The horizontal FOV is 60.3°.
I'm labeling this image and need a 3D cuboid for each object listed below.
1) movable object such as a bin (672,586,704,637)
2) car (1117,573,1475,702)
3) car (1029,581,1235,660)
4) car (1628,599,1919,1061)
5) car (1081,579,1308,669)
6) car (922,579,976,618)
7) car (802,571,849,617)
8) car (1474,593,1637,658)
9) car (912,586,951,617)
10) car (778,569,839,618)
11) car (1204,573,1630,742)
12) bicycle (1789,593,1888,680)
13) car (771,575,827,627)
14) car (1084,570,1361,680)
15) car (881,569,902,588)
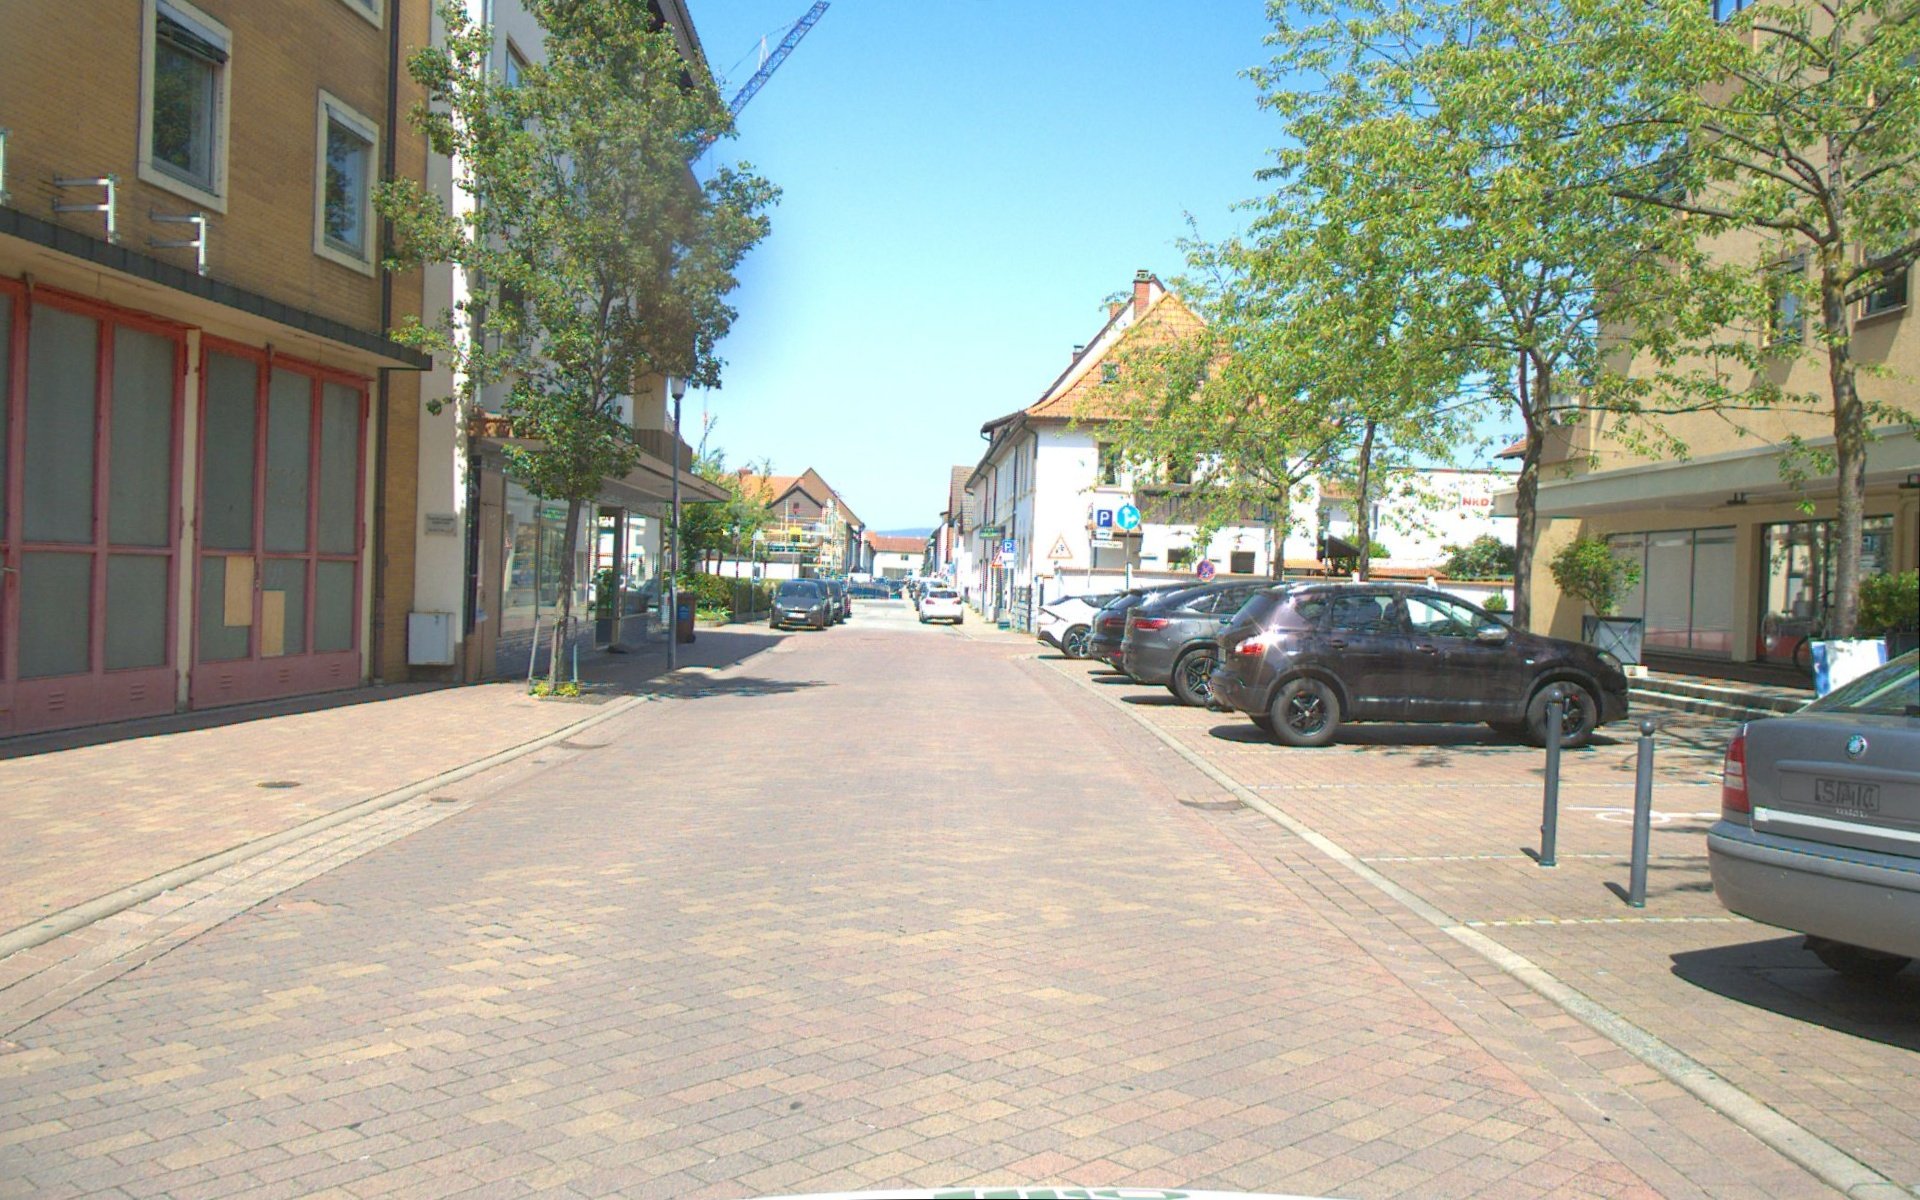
[{"bbox_3d":[-6.059,0.247,36.845,0.643,1.089,0.663,2,0,-8],"label":"movable object such as a bin"},{"bbox_3d":[4.367,0.460,22.036,4.415,1.616,1.851,0,1,1],"label":"car"},{"bbox_3d":[3.847,0.450,37.420,4.353,1.603,1.787,2,1,-5],"label":"car"},{"bbox_3d":[5.021,0.783,6.548,4.310,1.489,1.879,1,0,-21],"label":"car"},{"bbox_3d":[4.245,0.413,30.333,3.865,1.560,1.823,0,1,-3],"label":"car"},{"bbox_3d":[-0.450,-0.102,71.259,1.847,1.568,4.246,2,1,6],"label":"car"},{"bbox_3d":[-5.180,-0.250,64.071,1.605,1.657,3.766,2,1,-3],"label":"car"},{"bbox_3d":[15.192,0.636,42.282,3.541,1.477,1.655,1,1,-1],"label":"car"},{"bbox_3d":[-1.577,0.061,91.028,1.848,1.583,3.891,-2,1,-5],"label":"car"},{"bbox_3d":[-5.314,-0.246,58.389,1.778,1.632,4.024,2,1,-1],"label":"car"},{"bbox_3d":[4.612,0.553,17.085,3.944,1.640,1.681,0,0,0],"label":"car"},{"bbox_3d":[12.190,0.485,22.993,0.404,1.143,1.774,2,0,1],"label":"bicycle"},{"bbox_3d":[-5.099,-0.003,52.449,1.669,1.523,3.853,2,1,-5],"label":"car"},{"bbox_3d":[4.263,0.387,27.364,4.194,1.710,1.999,1,1,-4],"label":"car"},{"bbox_3d":[-6.480,-2.011,156.500,1.844,1.697,4.151,2,1,-3],"label":"car"}]
